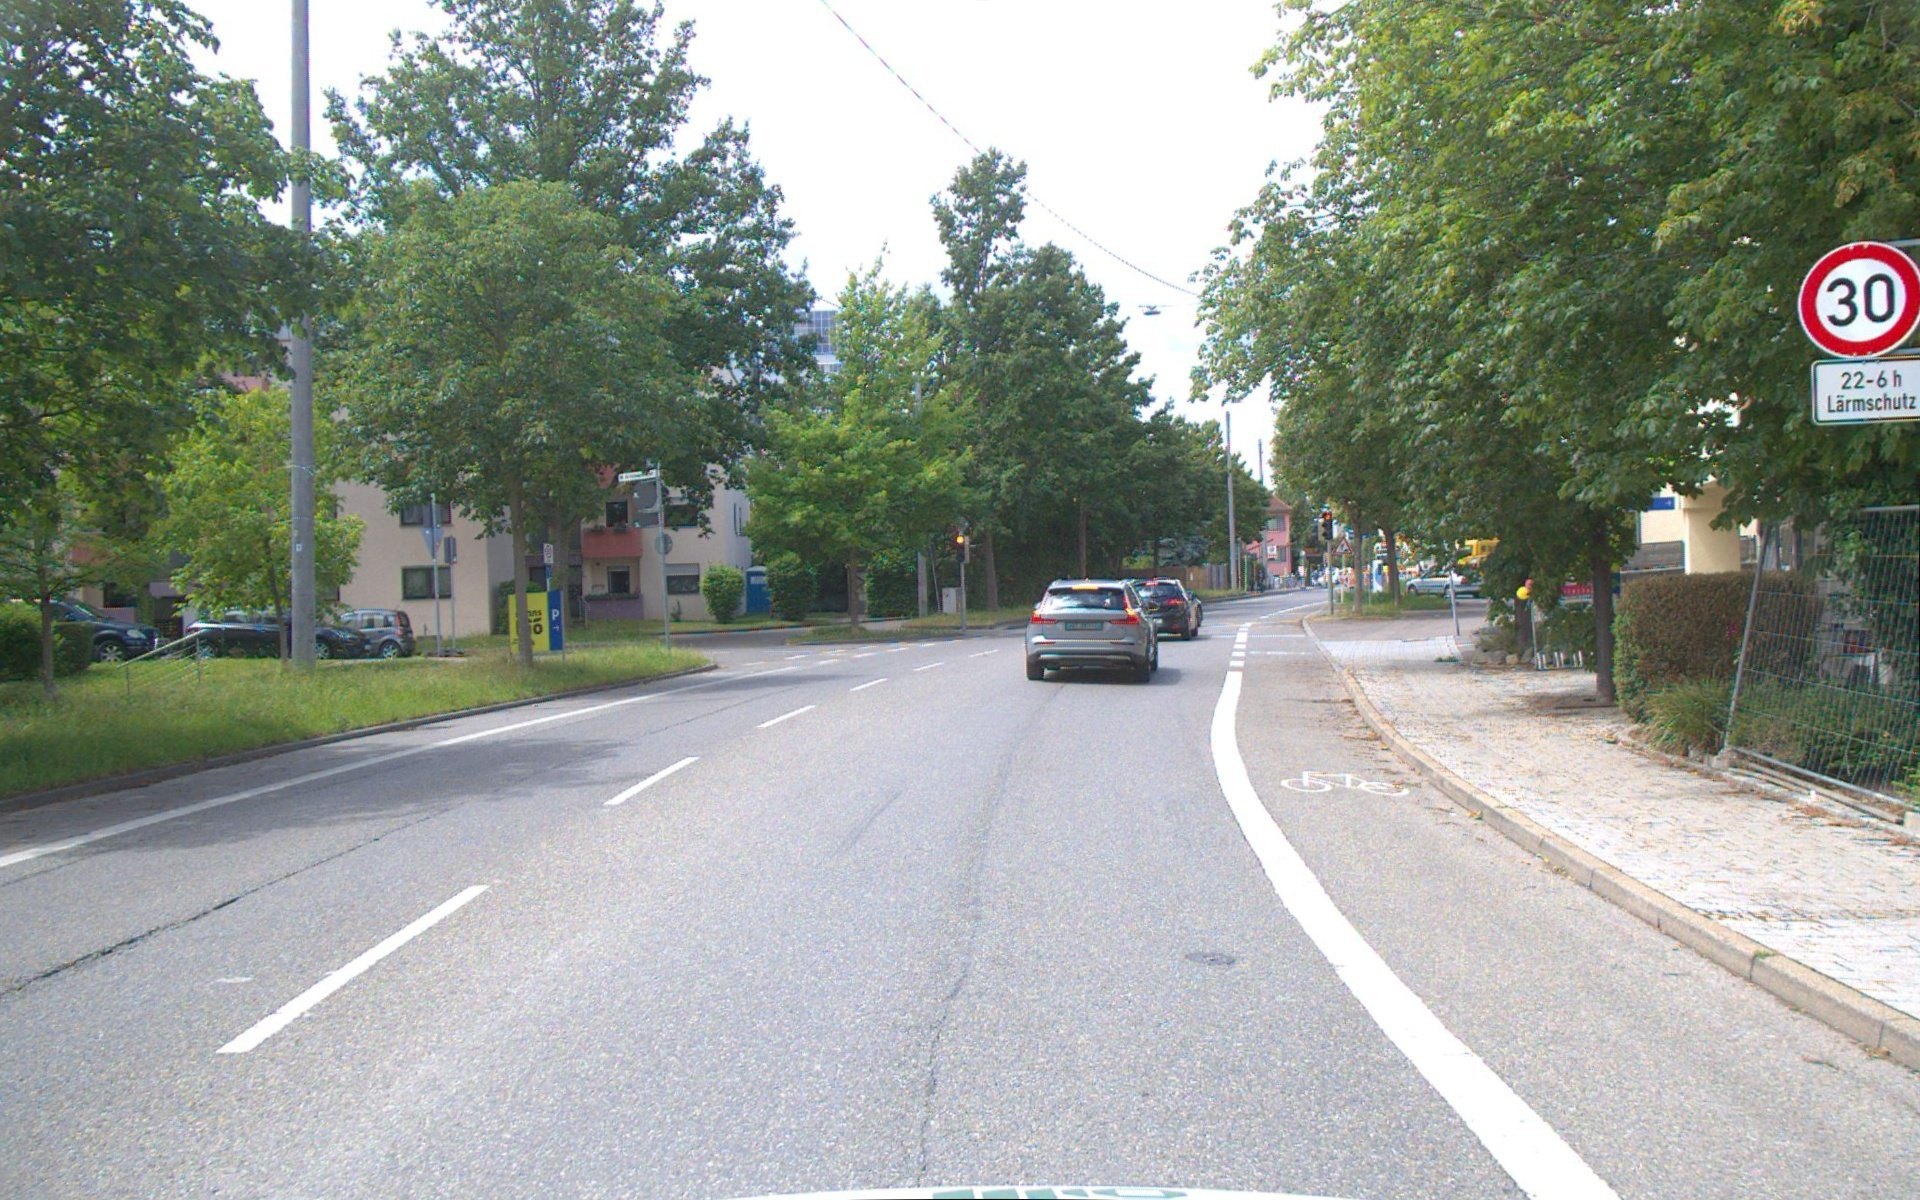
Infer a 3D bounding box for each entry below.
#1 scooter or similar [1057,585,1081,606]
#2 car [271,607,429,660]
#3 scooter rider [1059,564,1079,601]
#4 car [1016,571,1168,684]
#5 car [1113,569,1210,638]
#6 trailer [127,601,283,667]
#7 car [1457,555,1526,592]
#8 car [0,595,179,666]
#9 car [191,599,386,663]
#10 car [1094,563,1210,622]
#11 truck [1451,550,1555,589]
[{"bbox_3d":[5.282,-0.210,80.283,0.942,0.978,0.684,-1,0,-29],"label":"scooter or similar"},{"bbox_3d":[-18.037,1.001,49.032,3.996,1.424,1.793,-1,-4,-3],"label":"car"},{"bbox_3d":[5.276,-0.833,80.287,0.697,1.758,0.674,0,-1,-28],"label":"scooter rider"},{"bbox_3d":[2.137,0.349,25.734,1.914,1.549,4.333,2,1,10],"label":"car"},{"bbox_3d":[4.989,0.049,40.514,1.766,1.549,4.332,2,1,15],"label":"car"},{"bbox_3d":[-22.250,1.026,48.872,3.830,1.830,1.629,-1,-4,-5],"label":"trailer"},{"bbox_3d":[30.690,-1.540,95.493,3.716,2.049,1.725,0,-1,-31],"label":"car"},{"bbox_3d":[-21.354,0.734,39.857,4.092,1.550,1.900,-2,0,-3],"label":"car"},{"bbox_3d":[-16.271,0.770,40.225,3.996,1.424,1.793,-1,-4,-3],"label":"car"},{"bbox_3d":[5.713,-0.197,48.881,1.771,1.644,4.319,1,0,31],"label":"car"},{"bbox_3d":[29.682,-1.635,90.346,5.529,2.049,2.071,-1,-1,-27],"label":"truck"}]
